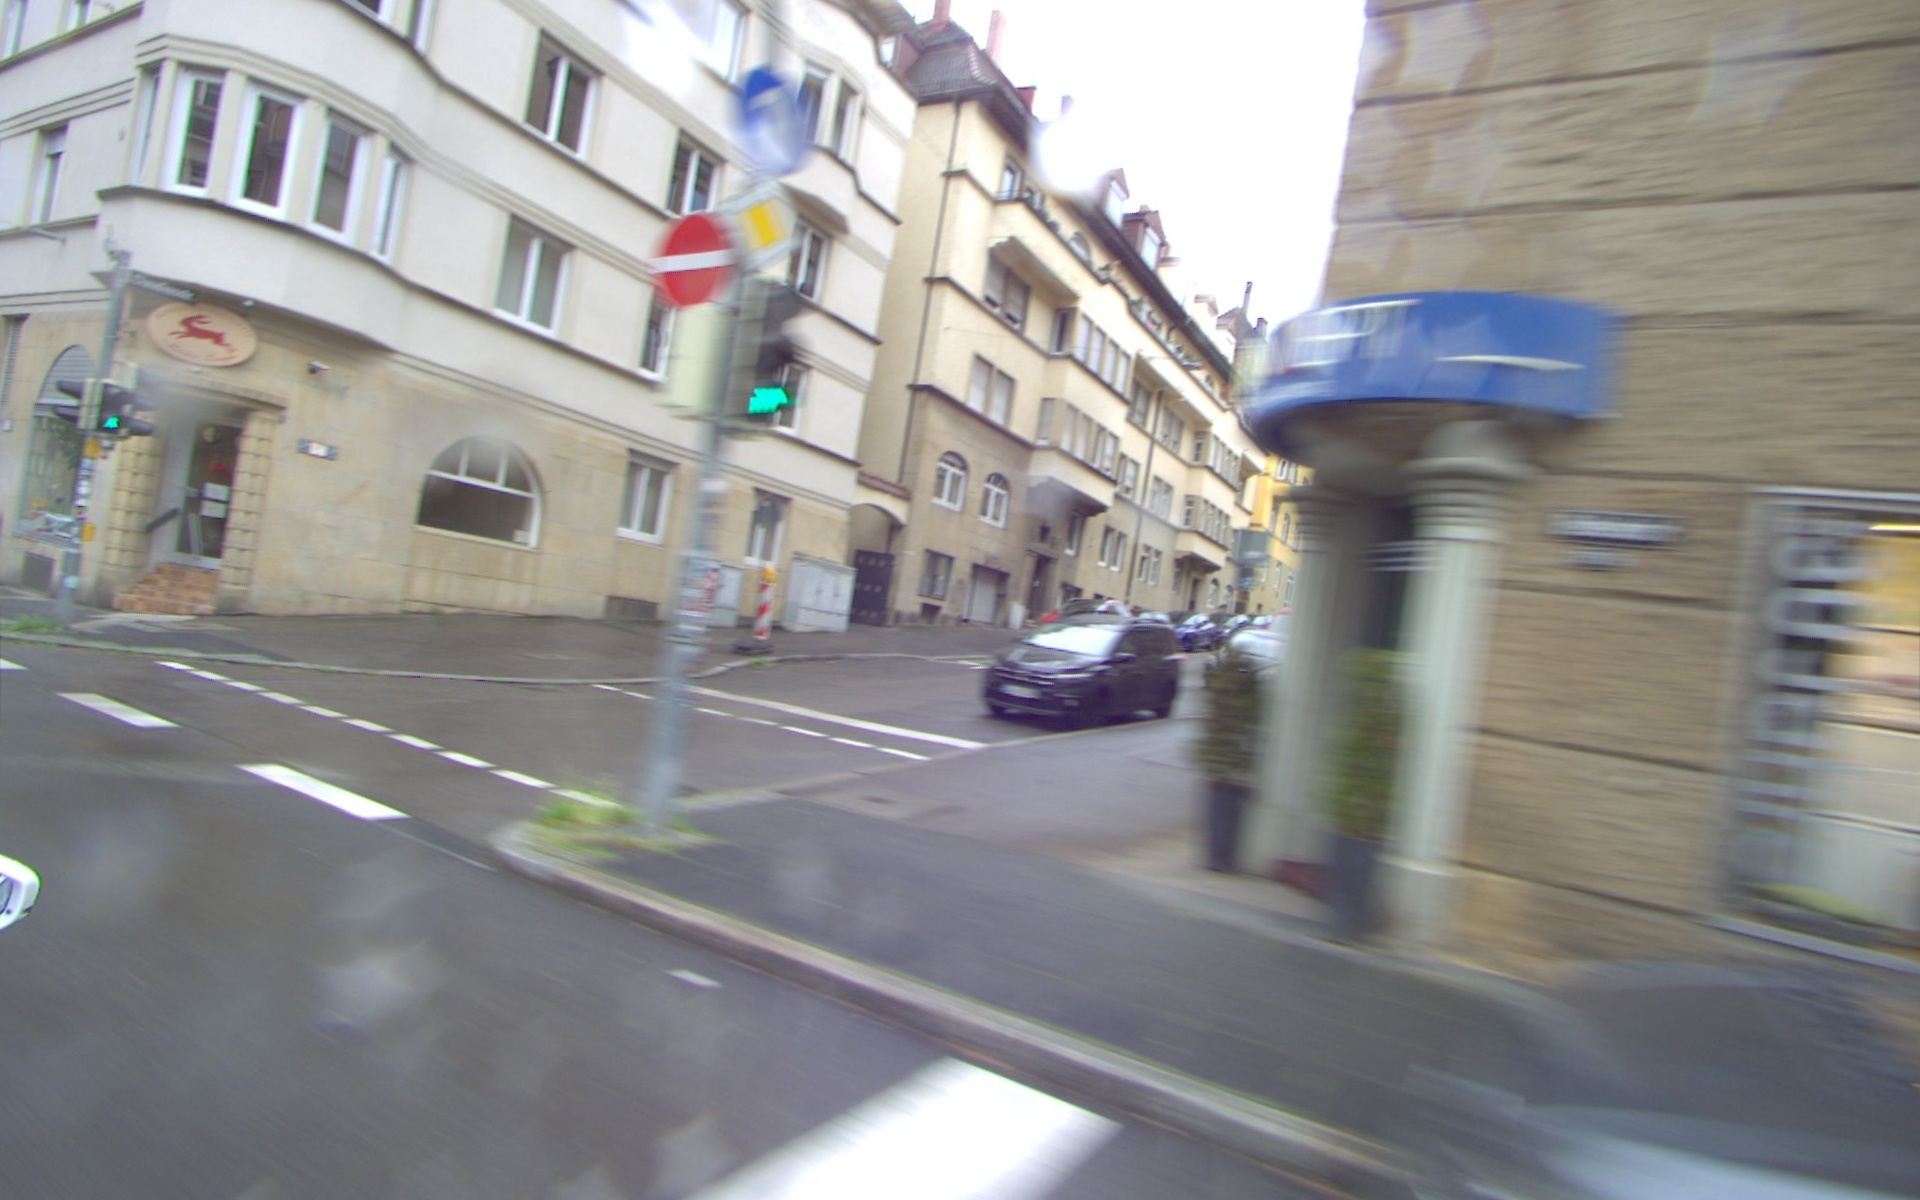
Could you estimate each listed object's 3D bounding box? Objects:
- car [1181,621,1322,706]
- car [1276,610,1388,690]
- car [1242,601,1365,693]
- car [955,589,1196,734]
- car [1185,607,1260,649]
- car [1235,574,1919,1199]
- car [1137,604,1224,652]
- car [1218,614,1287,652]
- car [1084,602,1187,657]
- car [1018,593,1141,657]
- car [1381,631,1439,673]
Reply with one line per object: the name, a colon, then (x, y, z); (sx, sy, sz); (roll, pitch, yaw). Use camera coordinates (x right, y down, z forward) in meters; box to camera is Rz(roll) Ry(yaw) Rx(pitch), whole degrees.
car: (7.140, 1.487, 24.283); (1.828, 1.482, 4.674); (14, 5, 31)
car: (12.775, 1.680, 34.335); (2.363, 2.070, 5.080); (13, 5, 30)
car: (10.104, 1.344, 29.325); (2.037, 2.070, 5.080); (13, 5, 30)
car: (1.933, 0.888, 15.363); (1.843, 1.674, 4.514); (8, 2, 30)
car: (11.094, 1.205, 42.338); (1.945, 1.588, 4.362); (4, 0, 29)
car: (2.497, 1.038, 1.115); (3.924, 1.566, 1.873); (6, -3, 31)
car: (8.350, 1.067, 37.797); (1.945, 1.588, 4.362); (4, 0, 29)
car: (13.676, 1.557, 46.840); (2.003, 1.588, 4.462); (4, 0, 30)
car: (5.873, 0.991, 33.226); (1.945, 1.588, 4.362); (4, 0, 29)
car: (3.543, 0.718, 29.053); (1.945, 1.589, 4.360); (4, 1, 29)
car: (23.489, 2.696, 52.406); (1.968, 1.671, 4.346); (13, 5, 30)
